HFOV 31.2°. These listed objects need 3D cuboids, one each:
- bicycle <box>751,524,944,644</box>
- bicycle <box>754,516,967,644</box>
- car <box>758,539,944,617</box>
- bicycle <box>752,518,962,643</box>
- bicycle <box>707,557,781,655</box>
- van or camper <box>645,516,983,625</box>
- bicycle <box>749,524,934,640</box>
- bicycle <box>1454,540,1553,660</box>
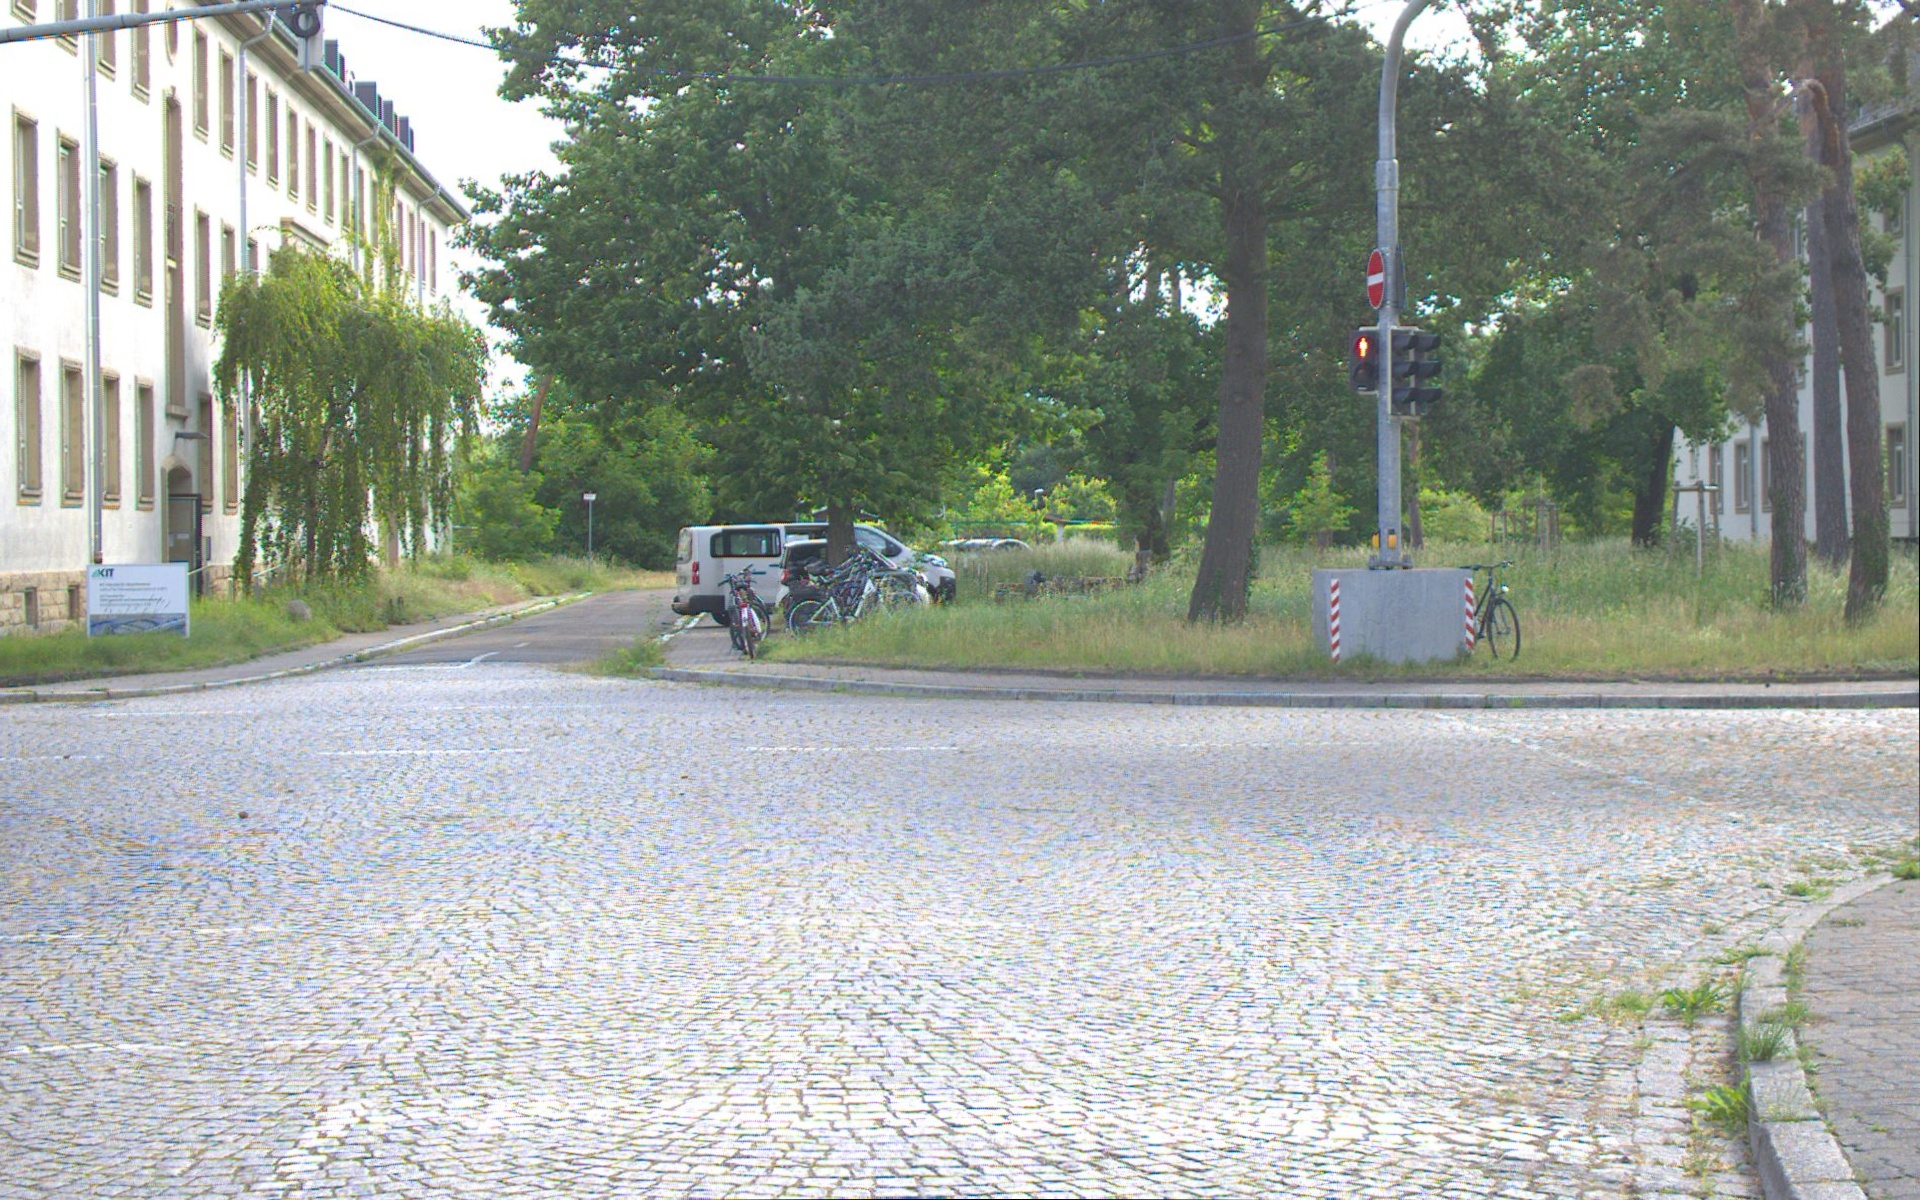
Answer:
[{"bbox_3d":[-1.665,-0.245,51.469,2.775,1.688,1.120,2,1,2],"label":"bicycle"},{"bbox_3d":[-1.360,-0.285,46.716,2.775,1.688,1.120,-1,1,-8],"label":"bicycle"},{"bbox_3d":[-1.948,-0.405,61.099,3.137,1.349,1.620,-1,1,-8],"label":"car"},{"bbox_3d":[-1.442,-0.279,47.908,2.775,1.688,1.120,-1,1,-10],"label":"bicycle"},{"bbox_3d":[-2.654,0.055,42.387,0.725,1.104,2.462,-5,1,-1],"label":"bicycle"},{"bbox_3d":[-2.746,-0.581,64.646,6.030,1.942,2.001,-1,1,-16],"label":"van or camper"},{"bbox_3d":[-1.812,-0.282,52.802,2.775,1.688,1.120,2,1,-1],"label":"bicycle"},{"bbox_3d":[5.543,-0.020,35.176,0.724,1.165,2.736,1,1,4],"label":"bicycle"}]
